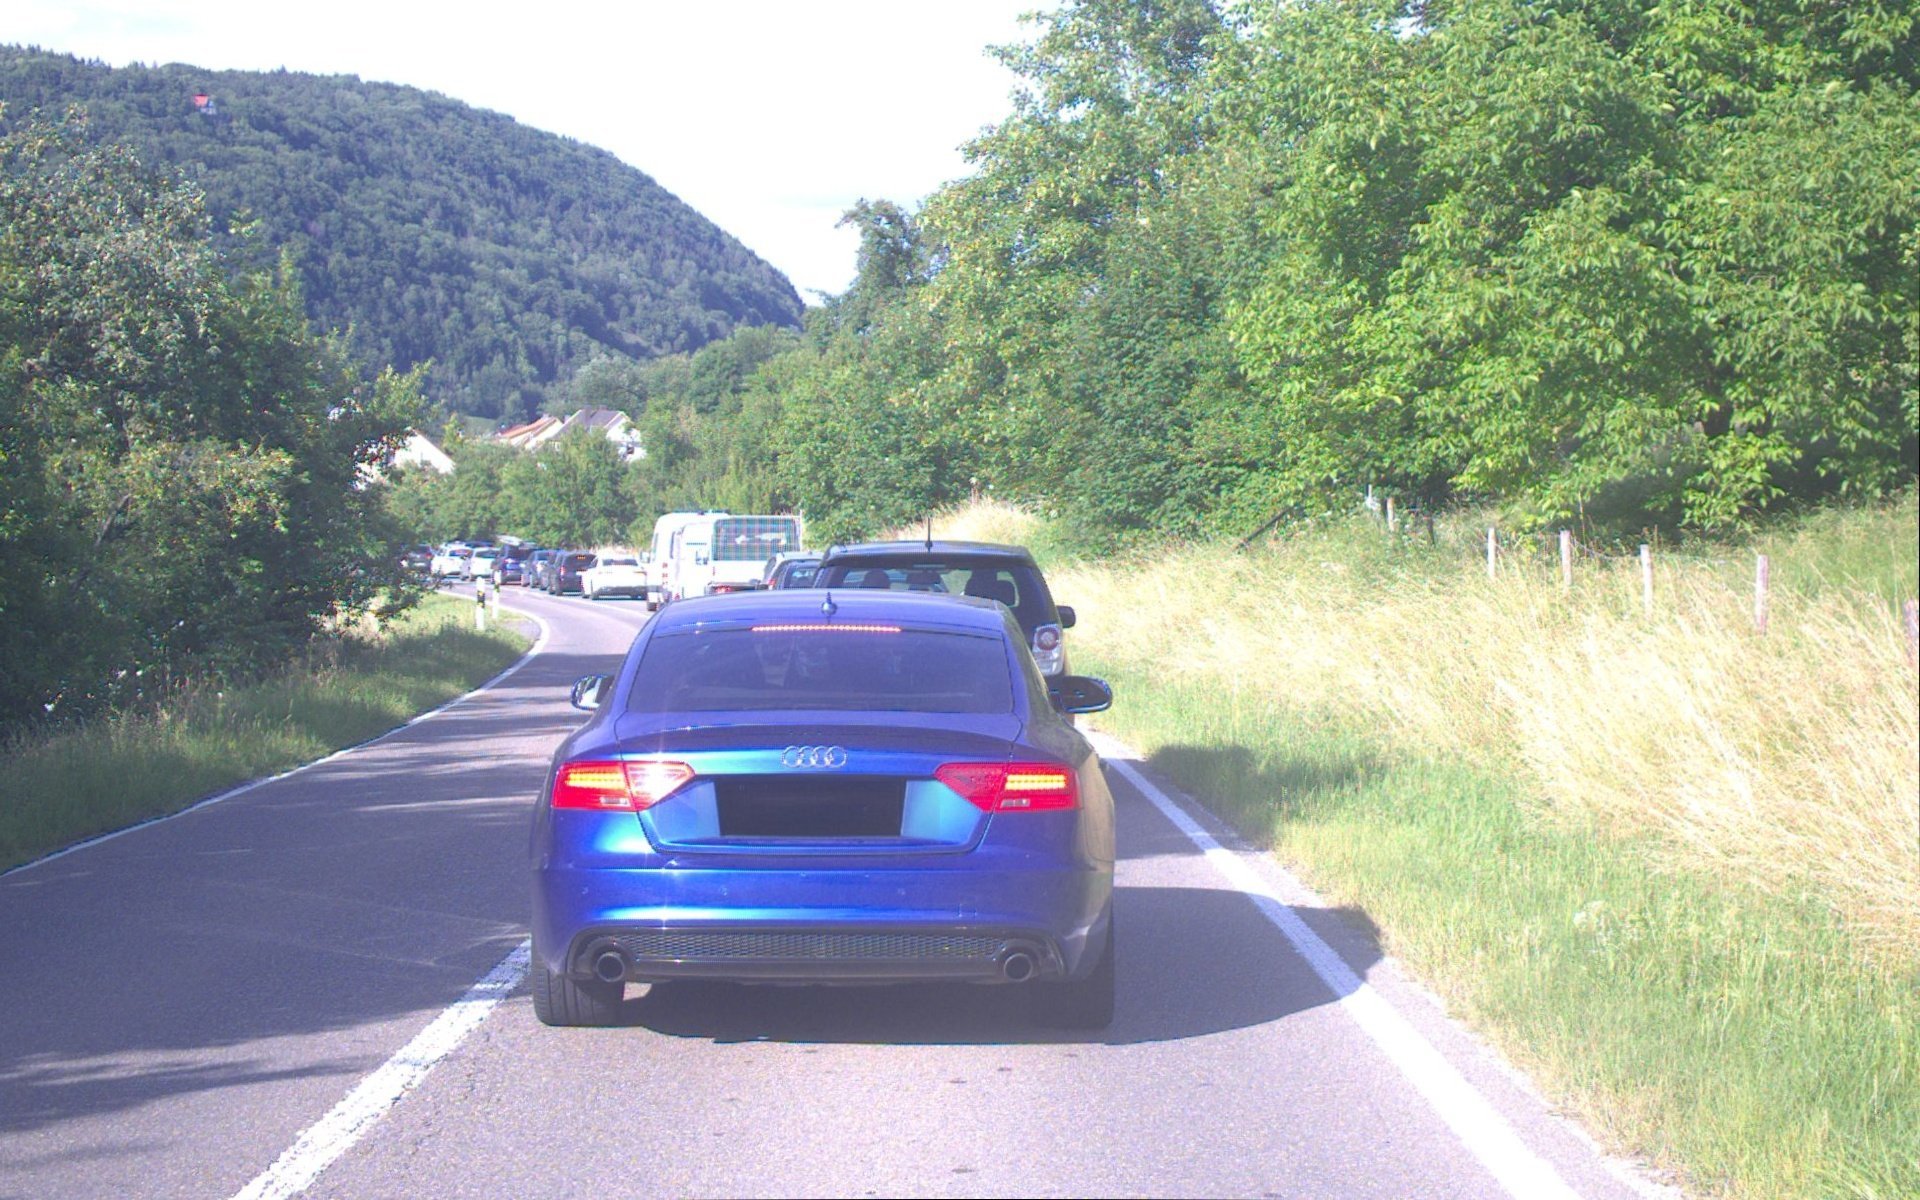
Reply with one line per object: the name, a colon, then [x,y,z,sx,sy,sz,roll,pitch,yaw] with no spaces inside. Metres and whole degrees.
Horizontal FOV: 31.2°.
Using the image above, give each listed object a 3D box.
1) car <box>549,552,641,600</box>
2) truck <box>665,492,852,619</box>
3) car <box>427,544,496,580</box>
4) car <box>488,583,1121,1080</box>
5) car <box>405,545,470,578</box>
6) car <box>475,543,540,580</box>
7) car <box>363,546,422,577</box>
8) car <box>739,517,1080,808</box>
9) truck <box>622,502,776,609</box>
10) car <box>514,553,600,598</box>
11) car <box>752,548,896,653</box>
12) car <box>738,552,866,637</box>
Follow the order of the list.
car: [-11.721,-0.770,110.277,1.993,1.477,4.001,1,0,-20]
truck: [-4.703,-1.019,78.103,2.863,2.656,10.396,1,1,-11]
car: [-21.368,-1.618,147.160,1.993,1.477,4.001,1,0,-22]
car: [-0.418,0.647,11.764,1.794,1.355,4.000,0,1,1]
car: [-23.644,-1.735,155.528,1.993,1.477,4.001,1,0,-22]
car: [-18.274,-1.546,138.614,1.993,1.477,4.001,1,0,-16]
car: [-27.783,-1.891,168.188,1.993,1.477,4.001,1,0,-22]
car: [-0.306,0.360,22.313,1.993,1.696,4.000,1,0,0]
truck: [-7.089,-1.185,91.855,2.863,2.656,10.648,1,1,-11]
car: [-13.806,-0.847,117.628,1.993,1.477,4.001,1,0,-20]
car: [-1.983,-0.004,51.157,1.993,1.477,4.000,1,0,0]
car: [-2.915,-0.108,62.547,1.993,1.477,4.001,1,0,-7]
